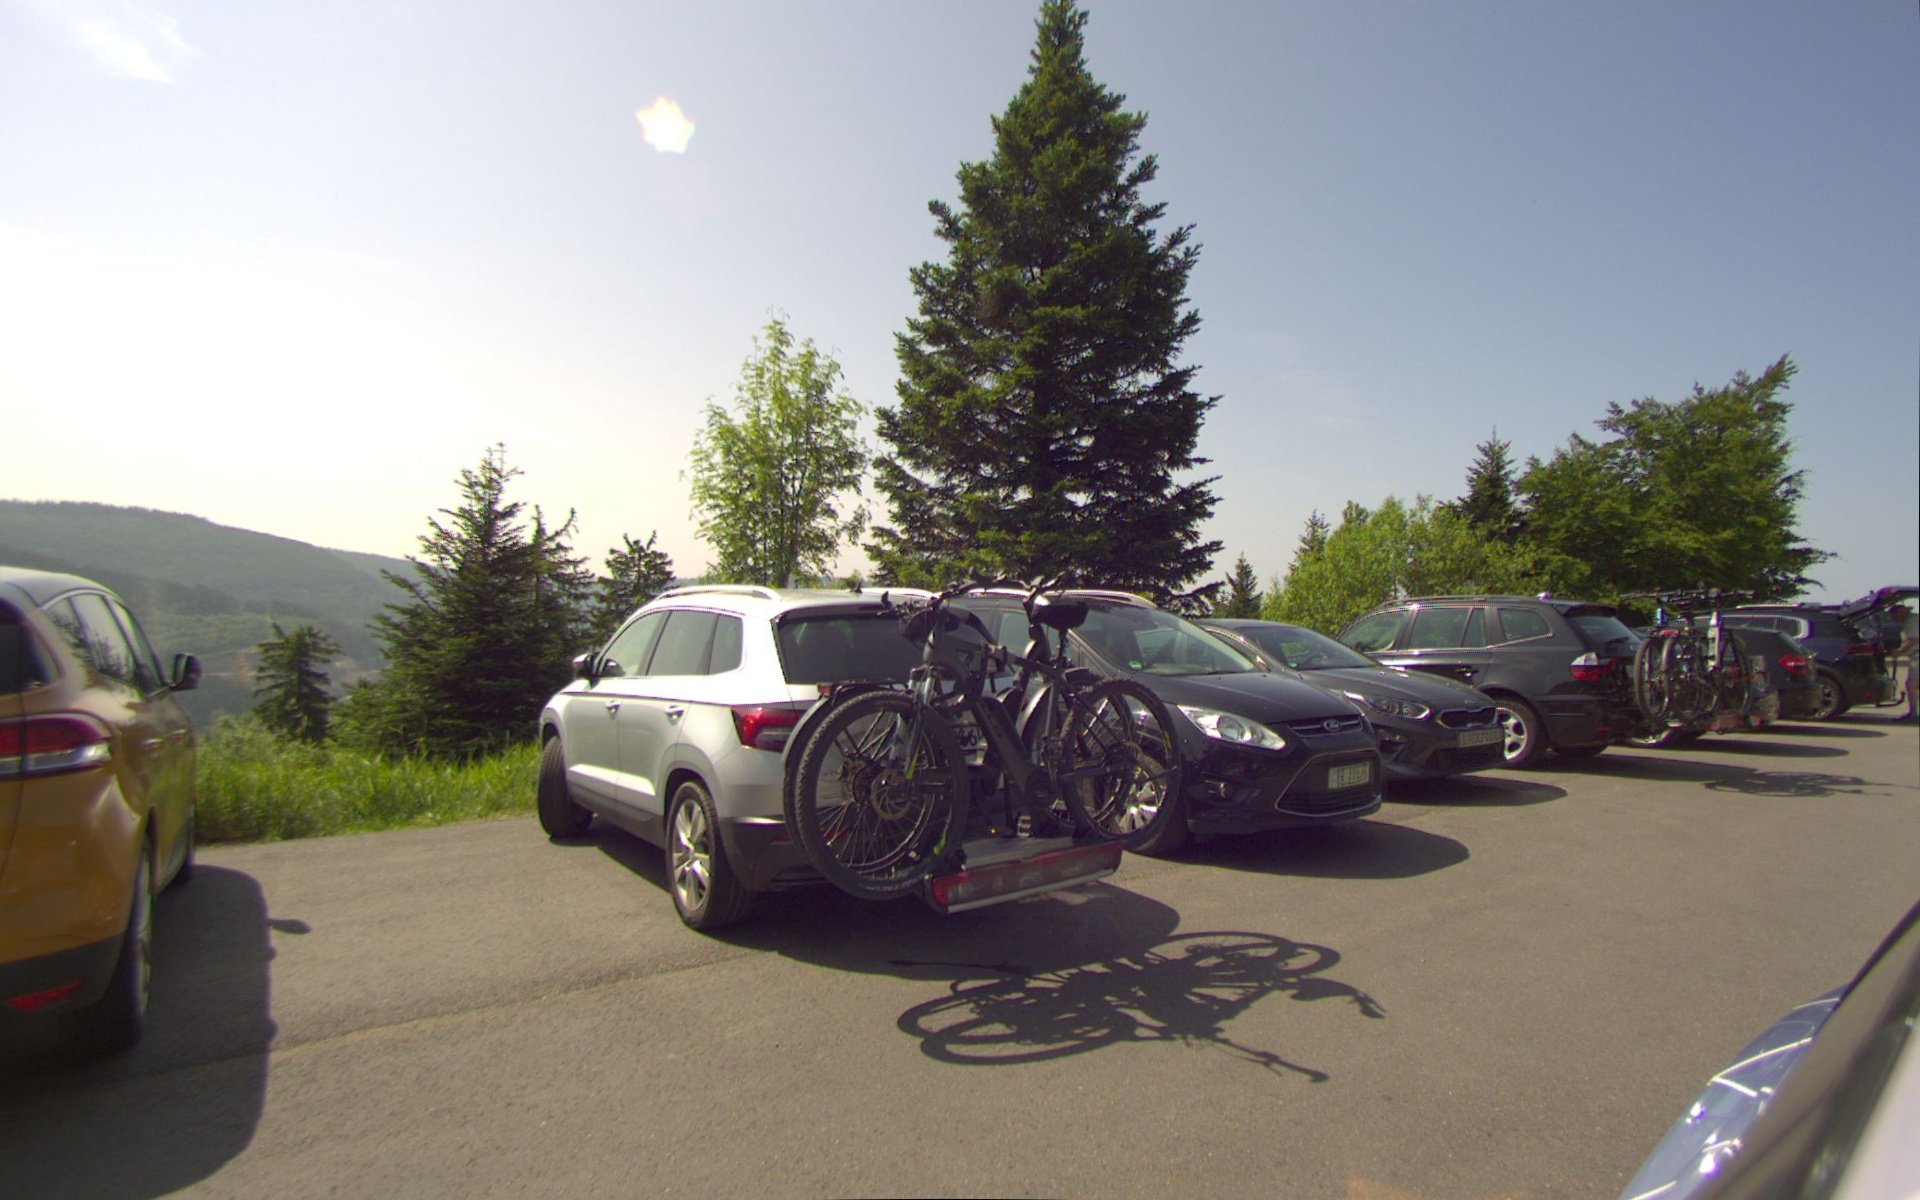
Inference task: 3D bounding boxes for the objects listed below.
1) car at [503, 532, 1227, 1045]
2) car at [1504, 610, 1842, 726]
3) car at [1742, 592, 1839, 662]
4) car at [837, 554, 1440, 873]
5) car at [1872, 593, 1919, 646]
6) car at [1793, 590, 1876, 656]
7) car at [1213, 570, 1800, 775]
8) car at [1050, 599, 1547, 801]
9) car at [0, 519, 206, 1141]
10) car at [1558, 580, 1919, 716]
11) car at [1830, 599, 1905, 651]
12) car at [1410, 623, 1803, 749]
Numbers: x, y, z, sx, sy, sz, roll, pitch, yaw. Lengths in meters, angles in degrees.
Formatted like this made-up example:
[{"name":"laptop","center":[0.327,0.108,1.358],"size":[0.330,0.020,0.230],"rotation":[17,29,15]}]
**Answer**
[{"name":"car","center":[-0.959,0.650,5.667],"size":[1.976,1.648,4.486],"rotation":[1,-1,-37]},{"name":"car","center":[9.989,0.856,14.348],"size":[1.709,1.368,3.677],"rotation":[1,0,-43]},{"name":"car","center":[23.973,0.707,29.178],"size":[1.862,1.864,3.821],"rotation":[0,0,44]},{"name":"car","center":[0.948,0.659,7.533],"size":[1.720,1.639,4.429],"rotation":[1,-2,-37]},{"name":"car","center":[38.178,0.773,40.683],"size":[1.990,2.039,3.944],"rotation":[0,0,38]},{"name":"car","center":[28.970,0.691,33.495],"size":[1.992,2.039,3.939],"rotation":[0,0,42]},{"name":"car","center":[5.378,0.701,10.772],"size":[1.963,1.641,5.113],"rotation":[1,-3,-36]},{"name":"car","center":[2.871,0.791,9.571],"size":[1.657,1.450,4.326],"rotation":[1,-2,-34]},{"name":"car","center":[-4.085,0.654,3.960],"size":[1.677,1.636,3.888],"rotation":[1,-2,-35]},{"name":"car","center":[12.257,0.654,16.115],"size":[1.963,1.845,4.324],"rotation":[1,0,-37]},{"name":"car","center":[33.516,0.874,37.454],"size":[1.992,1.766,3.940],"rotation":[0,0,41]},{"name":"car","center":[7.628,0.923,12.251],"size":[1.535,1.285,3.708],"rotation":[2,-2,-37]}]
